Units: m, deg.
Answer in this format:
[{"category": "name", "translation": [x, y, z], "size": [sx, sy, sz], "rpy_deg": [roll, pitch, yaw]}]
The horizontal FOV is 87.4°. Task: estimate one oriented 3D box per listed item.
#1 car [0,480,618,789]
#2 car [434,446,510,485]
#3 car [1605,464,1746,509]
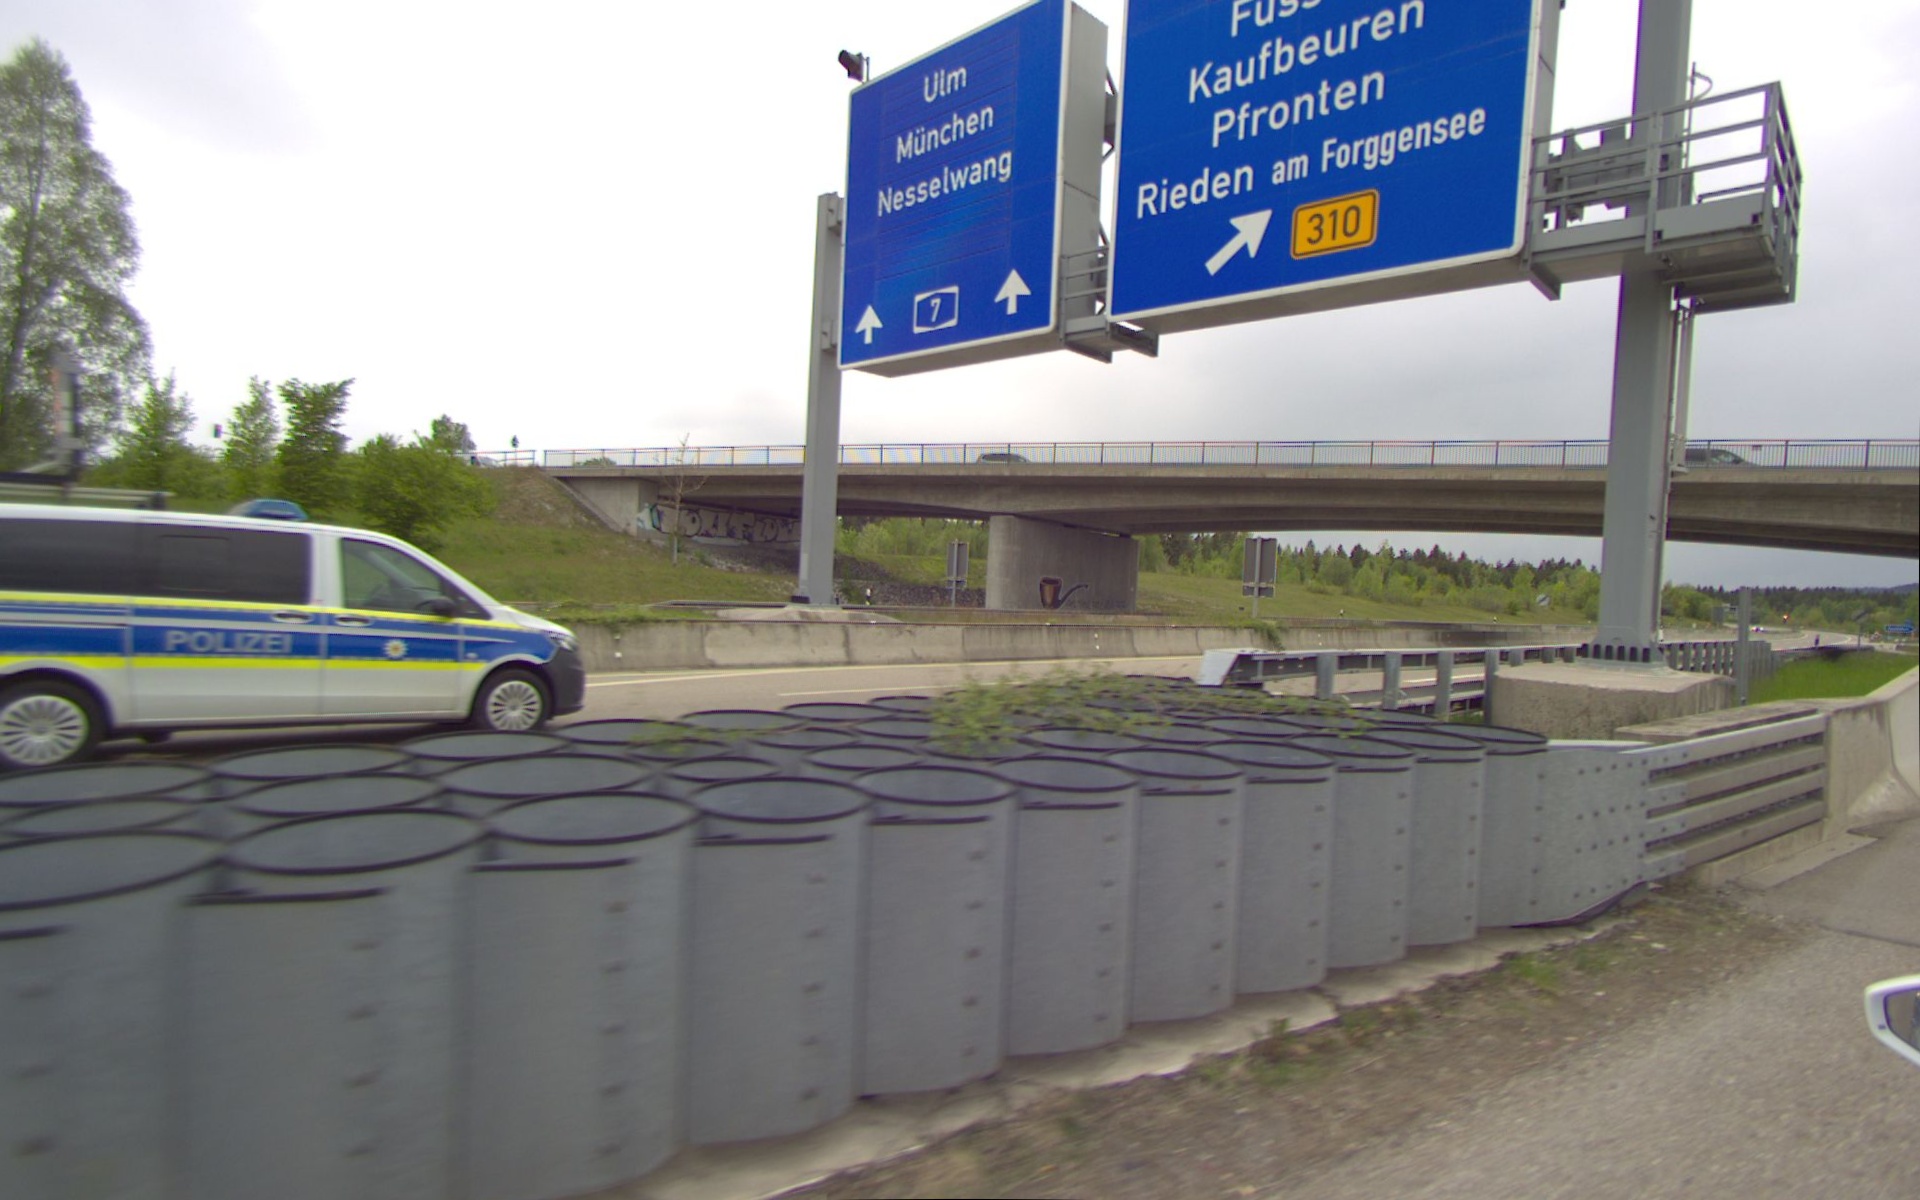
[{"category": "car", "translation": [-5.873, 0.269, 8.667], "size": [5.017, 2.040, 2.263], "rpy_deg": [3, -1, -45]}, {"category": "car", "translation": [-37.018, -10.143, 76.181], "size": [5.643, 2.281, 1.999], "rpy_deg": [-1, -1, 24]}, {"category": "car", "translation": [32.133, -5.083, 45.293], "size": [4.844, 1.669, 1.999], "rpy_deg": [1, -1, 23]}]
